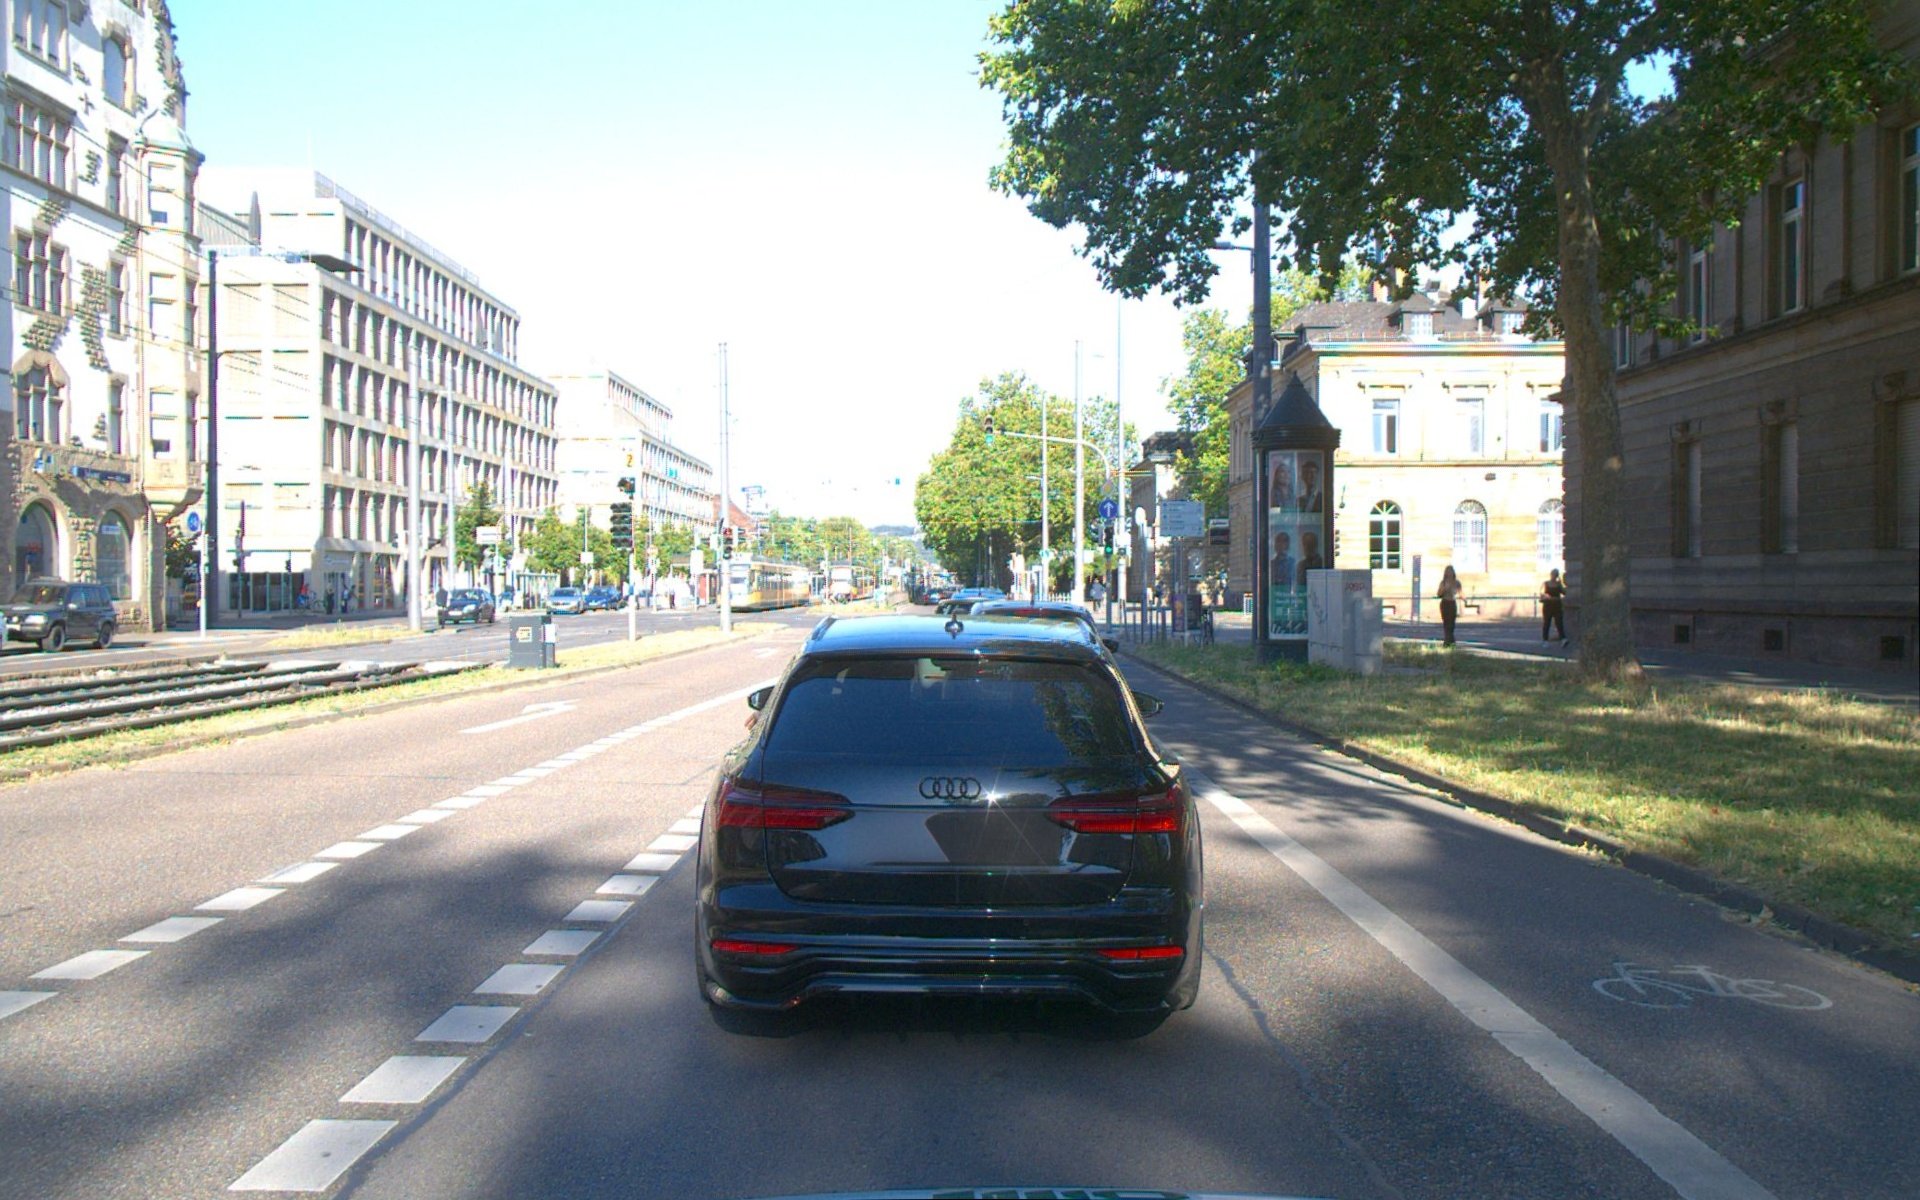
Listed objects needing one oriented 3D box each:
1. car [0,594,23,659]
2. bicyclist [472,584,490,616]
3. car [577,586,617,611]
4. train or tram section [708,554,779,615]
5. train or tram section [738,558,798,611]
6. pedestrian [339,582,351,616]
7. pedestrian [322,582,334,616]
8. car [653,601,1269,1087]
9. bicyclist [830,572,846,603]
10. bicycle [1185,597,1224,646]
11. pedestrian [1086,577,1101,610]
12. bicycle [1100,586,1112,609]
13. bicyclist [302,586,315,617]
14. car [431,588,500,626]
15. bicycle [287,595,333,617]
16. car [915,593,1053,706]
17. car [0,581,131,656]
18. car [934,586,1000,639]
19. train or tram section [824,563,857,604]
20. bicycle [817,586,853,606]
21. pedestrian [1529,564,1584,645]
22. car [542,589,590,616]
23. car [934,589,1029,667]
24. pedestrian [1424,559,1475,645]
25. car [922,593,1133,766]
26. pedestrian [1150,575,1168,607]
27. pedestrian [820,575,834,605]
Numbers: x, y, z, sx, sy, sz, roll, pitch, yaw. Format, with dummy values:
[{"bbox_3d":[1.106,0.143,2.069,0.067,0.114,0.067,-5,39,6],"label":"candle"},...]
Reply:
[{"bbox_3d":[-22.351,0.598,35.692,1.682,1.448,4.654,2,1,-2],"label":"car"},{"bbox_3d":[-24.570,0.001,84.809,0.671,1.590,0.785,-1,0,1],"label":"bicyclist"},{"bbox_3d":[-23.009,-0.114,104.877,1.783,1.482,4.155,-1,0,-2],"label":"car"},{"bbox_3d":[-13.403,-0.991,103.554,2.755,3.550,13.203,-1,0,0],"label":"train or tram section"},{"bbox_3d":[-13.458,-1.095,116.743,2.755,3.550,13.203,-1,0,0],"label":"train or tram section"},{"bbox_3d":[-34.348,-0.069,92.356,0.527,1.876,0.437,-1,0,-38],"label":"pedestrian"},{"bbox_3d":[-35.104,-0.082,91.847,0.468,1.876,0.437,-1,0,-38],"label":"pedestrian"},{"bbox_3d":[0.008,0.749,7.131,1.864,1.446,4.144,1,0,0],"label":"car"},{"bbox_3d":[-7.193,-0.732,97.471,0.744,1.850,0.761,-1,0,-16],"label":"bicyclist"},{"bbox_3d":[5.657,0.491,38.371,0.529,1.080,1.770,-1,0,-4],"label":"bicycle"},{"bbox_3d":[6.845,-0.345,84.508,0.668,1.689,0.758,-1,0,-2],"label":"pedestrian"},{"bbox_3d":[7.457,-0.114,84.541,0.426,1.165,1.340,-1,0,-2],"label":"bicycle"},{"bbox_3d":[-36.827,0.069,93.436,0.633,1.715,0.573,-1,0,-24],"label":"bicyclist"},{"bbox_3d":[-20.422,0.253,68.396,1.784,1.482,4.163,-1,0,-3],"label":"car"},{"bbox_3d":[-36.725,0.342,93.472,2.350,1.236,0.573,-1,0,-25],"label":"bicycle"},{"bbox_3d":[0.329,0.665,24.632,1.864,1.512,4.144,1,0,0],"label":"car"},{"bbox_3d":[-22.463,0.409,41.113,1.682,1.704,4.215,2,1,-2],"label":"car"},{"bbox_3d":[0.200,0.355,49.551,1.864,1.512,4.144,1,0,0],"label":"car"},{"bbox_3d":[-10.742,-1.484,149.913,2.556,3.511,11.128,-1,1,-2],"label":"train or tram section"},{"bbox_3d":[-7.350,-0.241,97.426,1.973,1.127,0.761,-1,0,-16],"label":"bicycle"},{"bbox_3d":[12.253,0.081,33.993,0.753,1.634,0.986,-1,0,1],"label":"pedestrian"},{"bbox_3d":[-22.067,0.129,92.725,1.783,1.482,4.538,-1,0,-2],"label":"car"},{"bbox_3d":[0.439,0.547,34.906,1.864,1.512,4.144,1,0,0],"label":"car"},{"bbox_3d":[10.095,0.044,34.140,0.753,1.739,1.042,-1,0,1],"label":"pedestrian"},{"bbox_3d":[0.606,0.704,16.796,1.864,1.512,4.144,1,0,0],"label":"car"},{"bbox_3d":[11.740,-0.522,97.551,0.959,1.898,0.826,-1,0,0],"label":"pedestrian"},{"bbox_3d":[-7.937,-0.603,98.980,0.727,1.772,0.661,-1,0,-15],"label":"pedestrian"}]
